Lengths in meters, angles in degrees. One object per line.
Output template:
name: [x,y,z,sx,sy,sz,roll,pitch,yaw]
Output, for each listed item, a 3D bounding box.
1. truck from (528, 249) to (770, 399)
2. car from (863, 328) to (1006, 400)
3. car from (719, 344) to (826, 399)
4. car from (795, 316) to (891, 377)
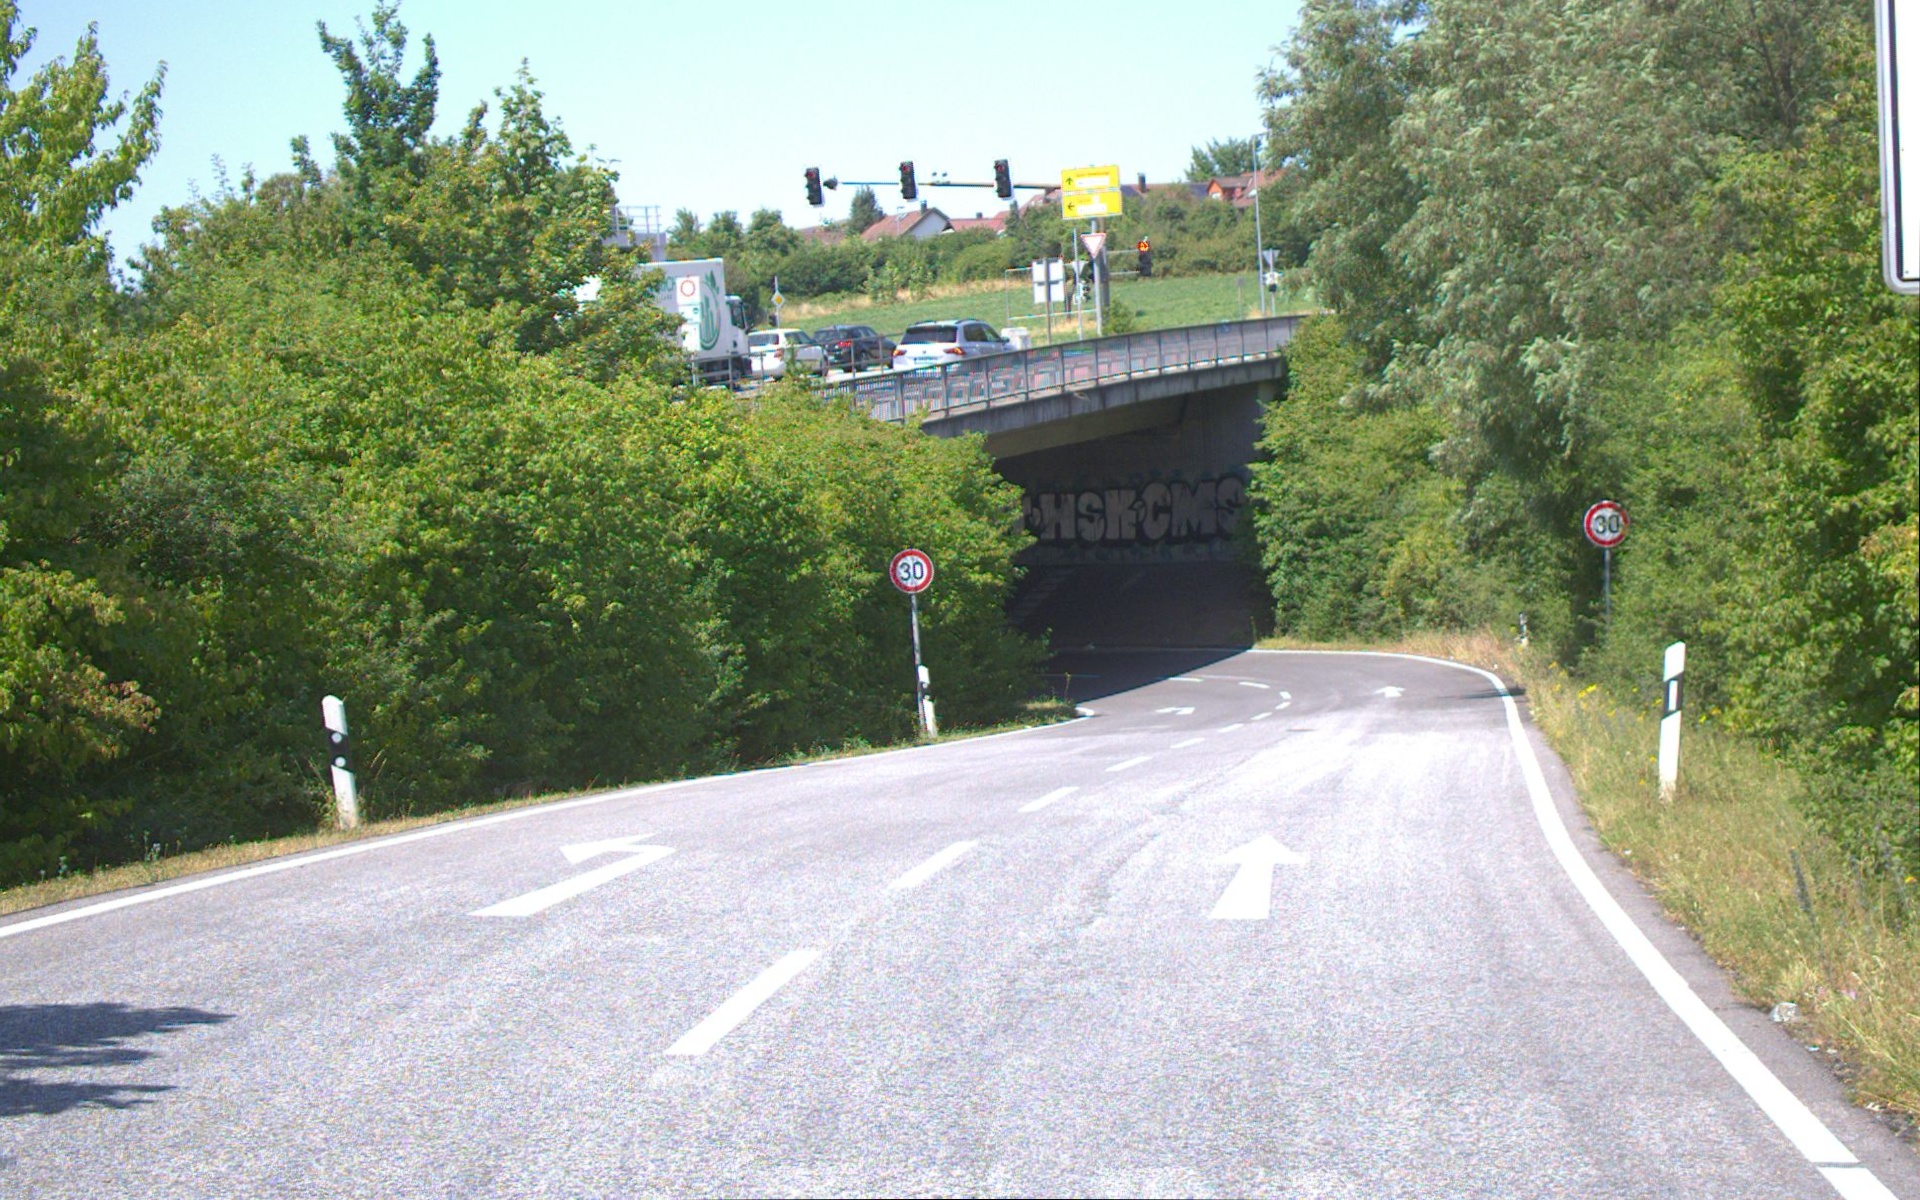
truck: [-8.169,-7.303,91.709,3.029,3.577,8.897,-3,3,17]
car: [-0.527,-5.228,76.286,1.995,1.416,3.998,-3,3,17]
car: [-5.341,-6.506,98.301,1.898,1.358,3.998,-1,1,15]
car: [-3.554,-7.770,105.483,1.994,1.612,3.998,-1,1,12]
